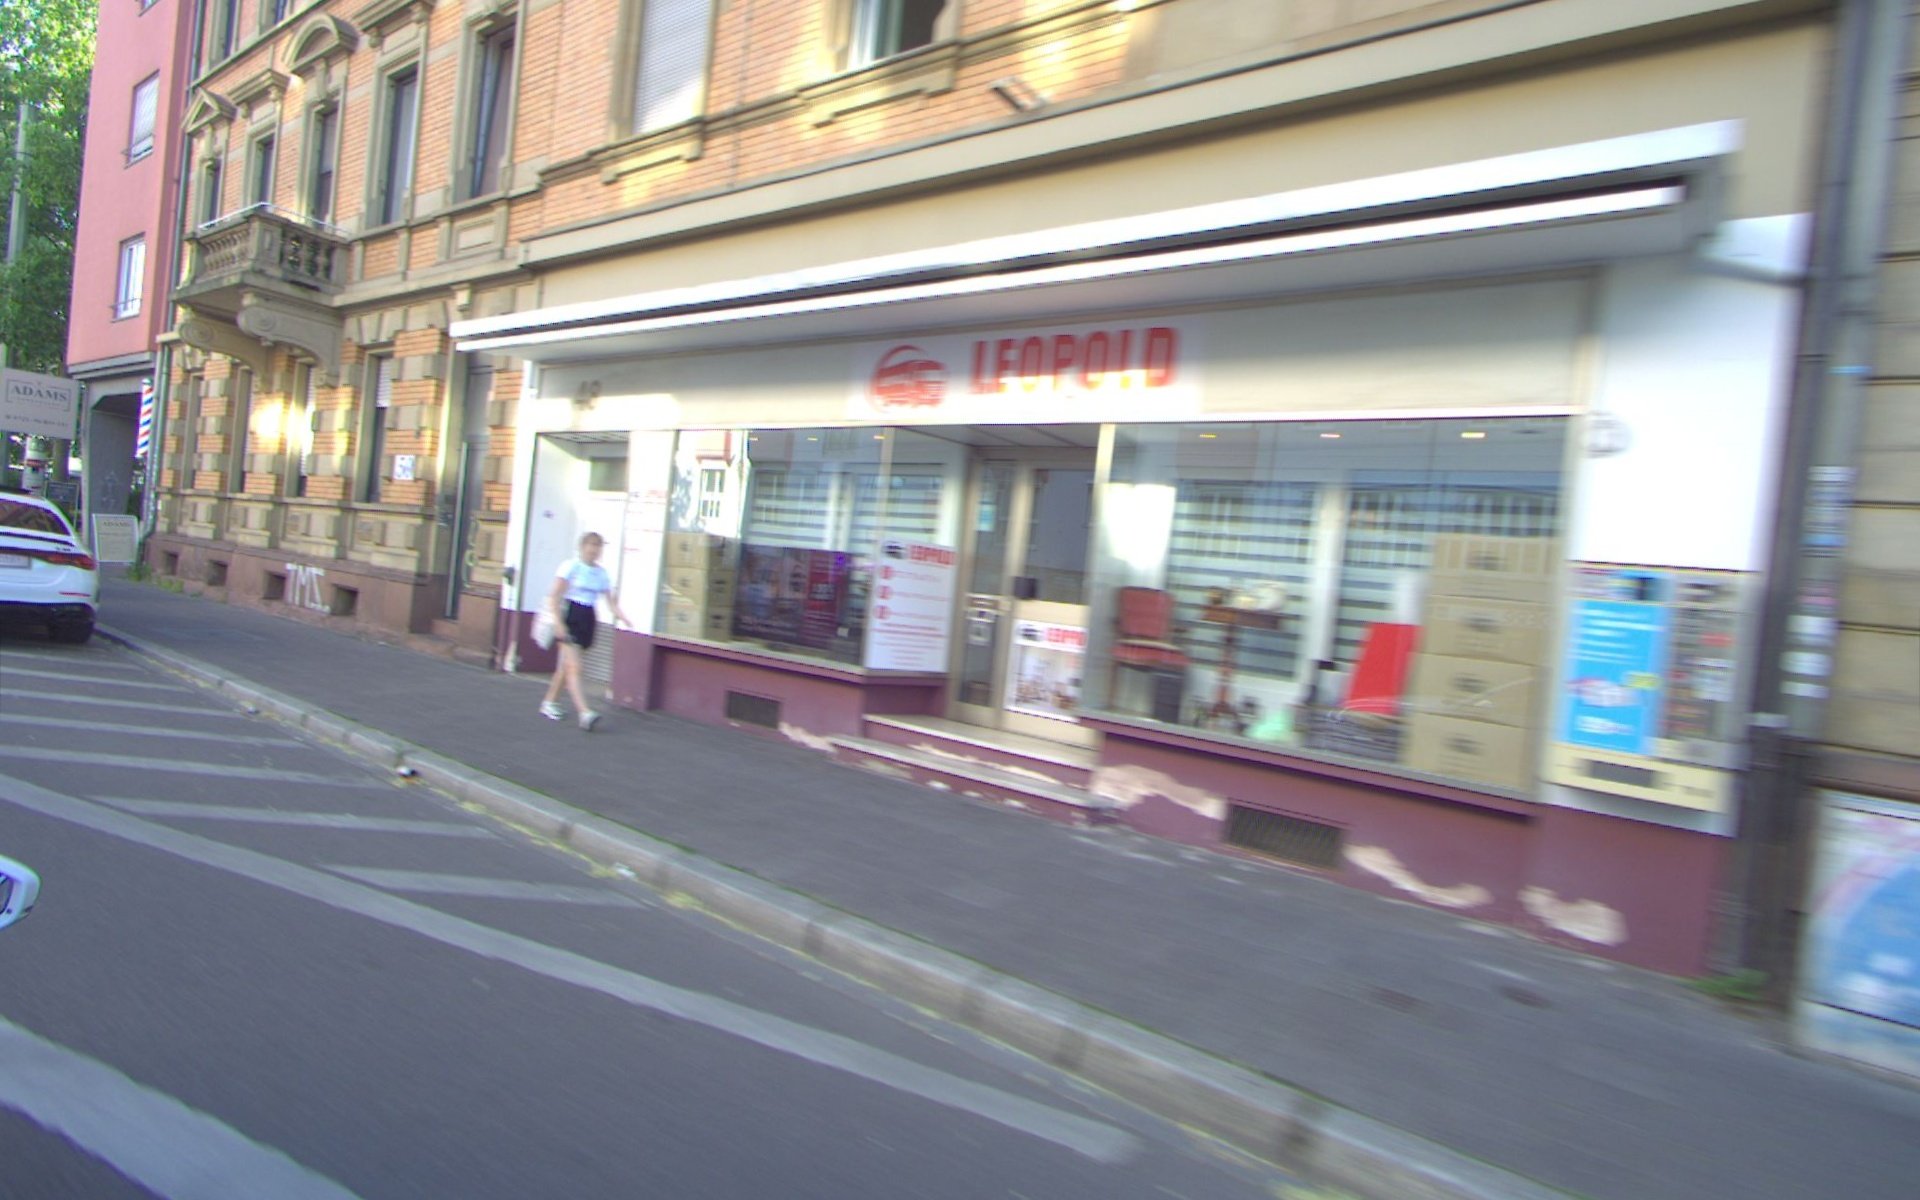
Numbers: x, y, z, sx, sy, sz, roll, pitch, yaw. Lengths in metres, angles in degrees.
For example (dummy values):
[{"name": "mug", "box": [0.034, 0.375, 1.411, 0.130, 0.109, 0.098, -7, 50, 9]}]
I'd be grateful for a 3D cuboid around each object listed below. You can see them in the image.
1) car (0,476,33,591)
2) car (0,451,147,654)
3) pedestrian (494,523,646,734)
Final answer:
[{"name": "car", "box": [-14.796, -1.140, 14.137, 3.899, 1.514, 1.732, 7, -1, 35]}, {"name": "car", "box": [-10.600, -0.668, 10.645, 4.802, 1.793, 1.966, 7, -1, 38]}, {"name": "pedestrian", "box": [-3.228, 0.210, 8.323, 0.900, 1.589, 0.773, 8, 5, 40]}]
